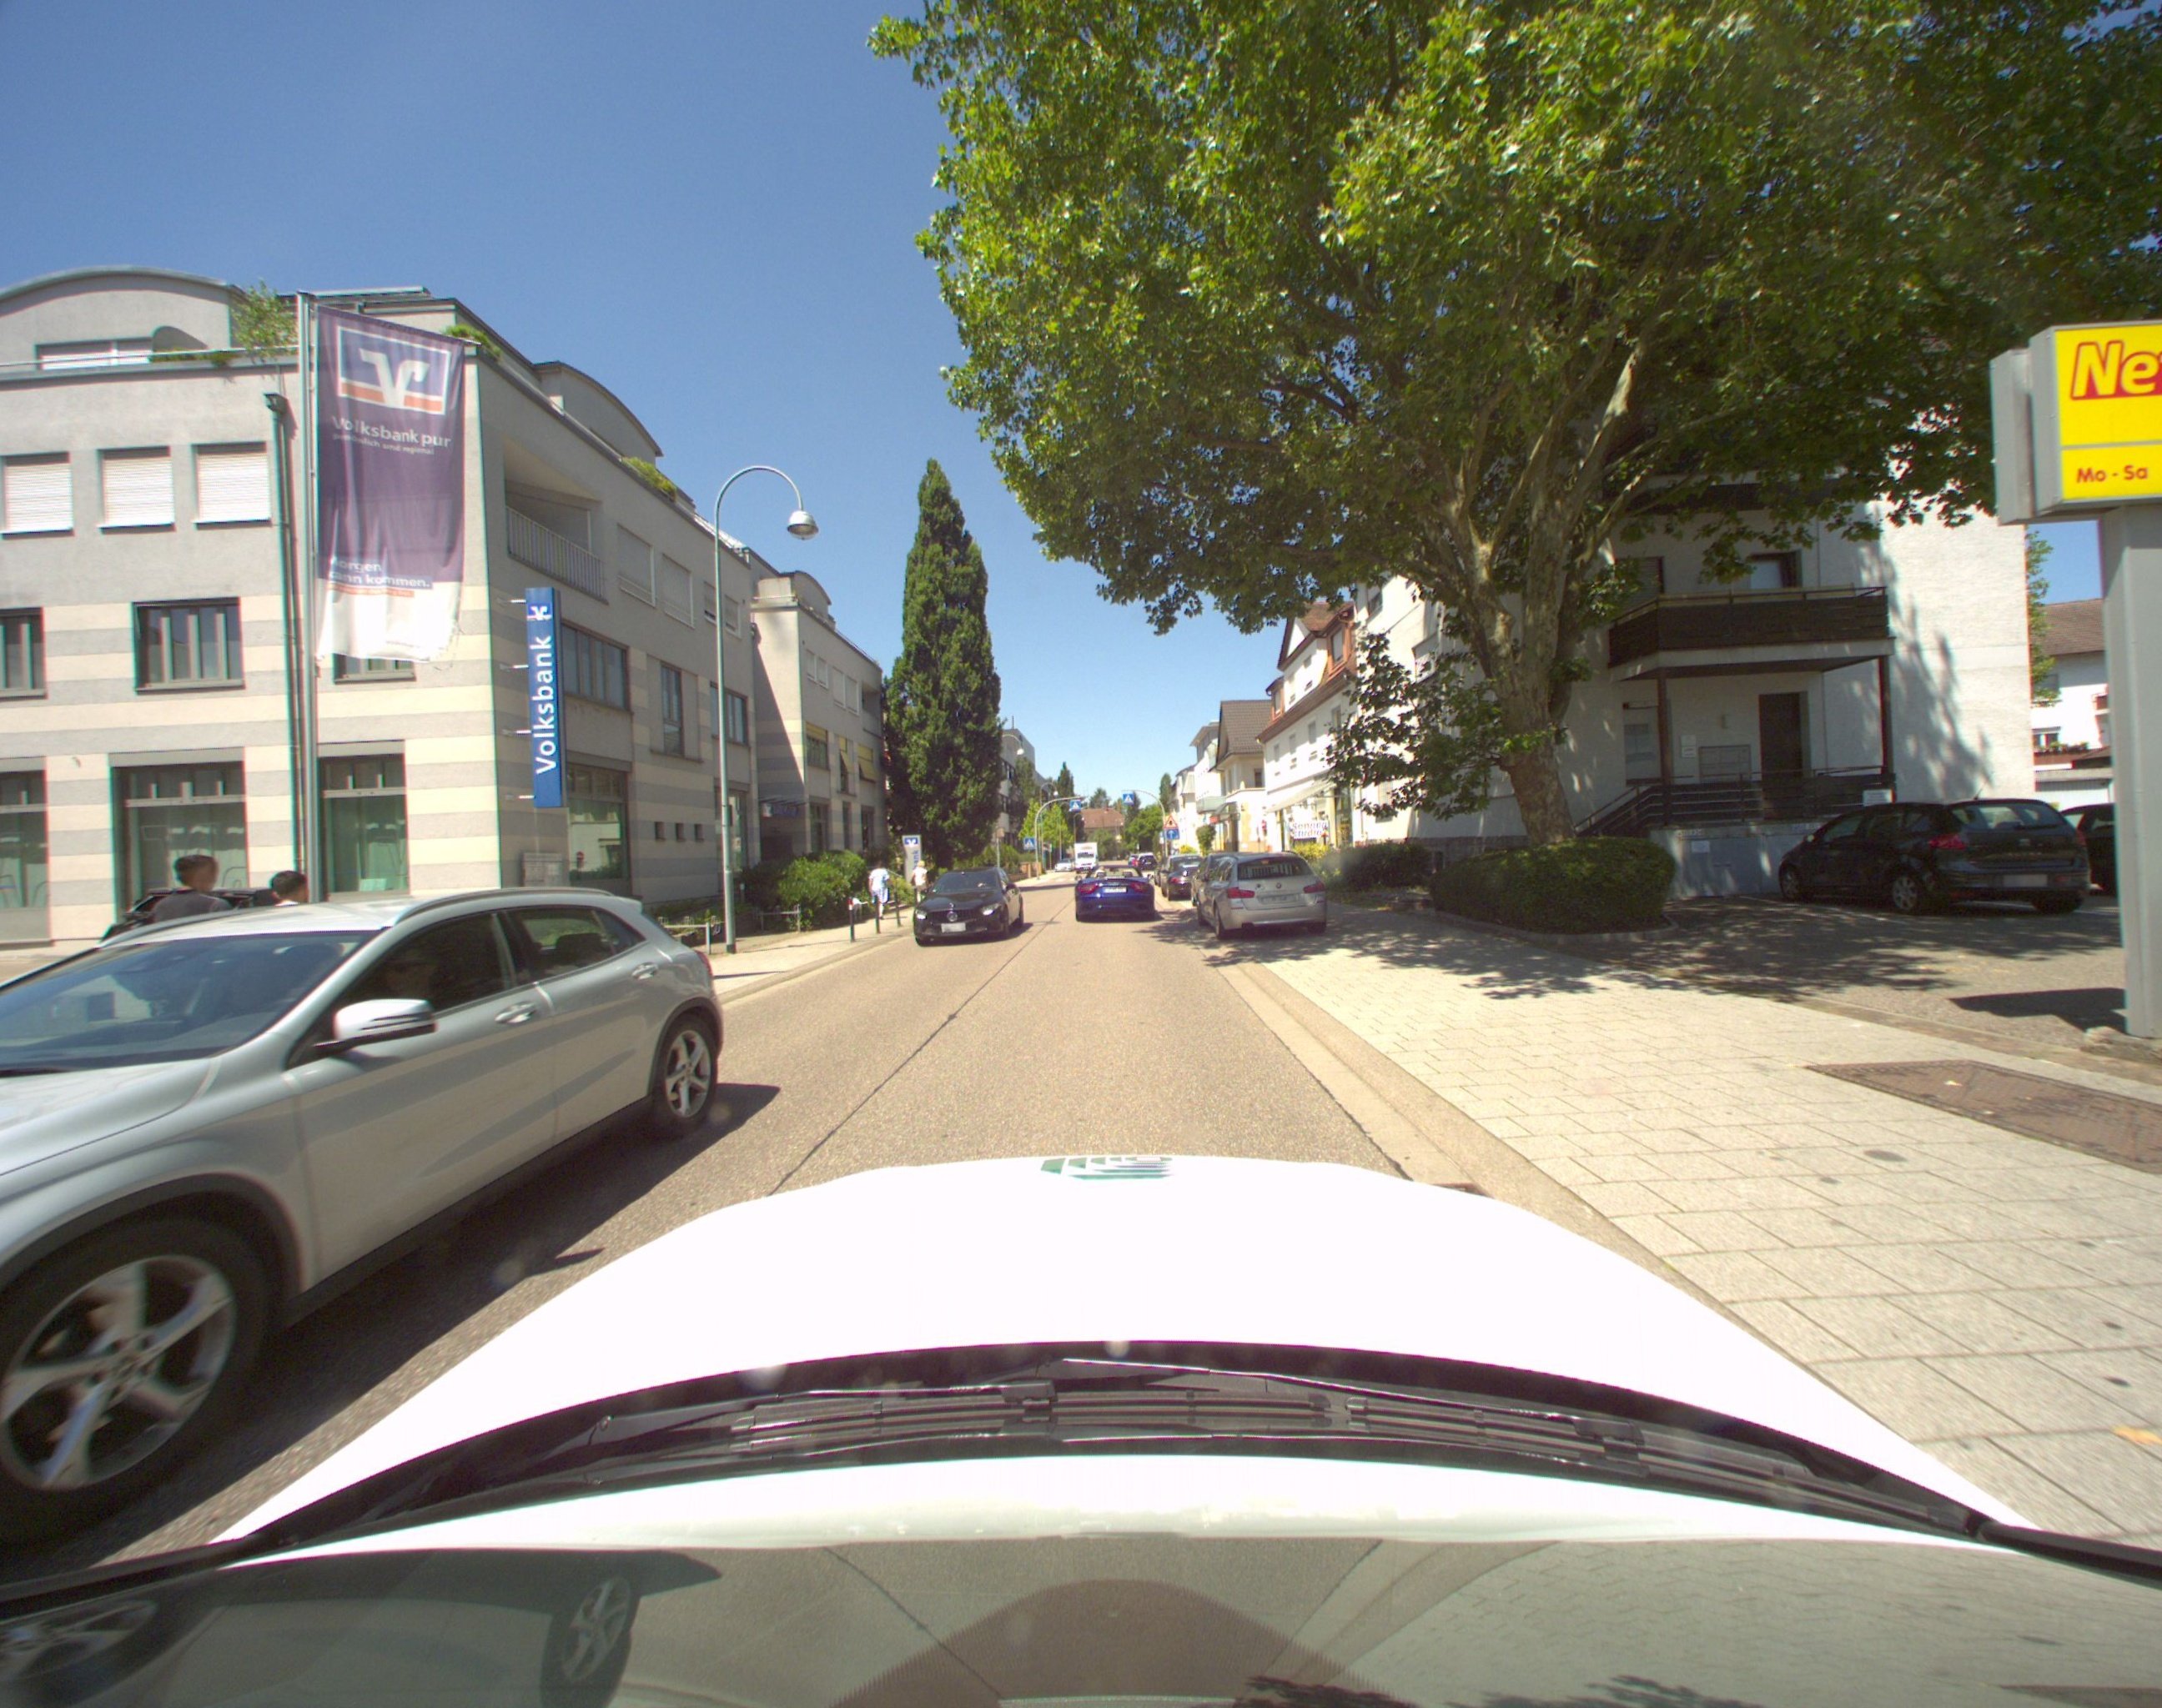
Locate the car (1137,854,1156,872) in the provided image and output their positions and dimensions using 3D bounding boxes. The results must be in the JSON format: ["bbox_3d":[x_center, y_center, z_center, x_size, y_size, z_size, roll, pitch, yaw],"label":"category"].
[{"bbox_3d":[6.297,0.844,78.544,1.698,1.666,4.583,-2,0,3],"label":"car"}]

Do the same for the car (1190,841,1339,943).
[{"bbox_3d":[3.258,0.615,15.419,1.822,1.511,4.762,-4,0,2],"label":"car"}]

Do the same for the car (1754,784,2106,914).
[{"bbox_3d":[12.258,-0.067,12.216,1.673,1.543,4.114,-3,0,14],"label":"car"}]

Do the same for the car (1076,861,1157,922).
[{"bbox_3d":[0.910,0.872,20.804,1.819,1.337,4.703,-1,0,2],"label":"car"}]

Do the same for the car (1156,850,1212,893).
[{"bbox_3d":[4.101,0.662,33.005,1.737,1.468,4.855,-5,0,2],"label":"car"}]

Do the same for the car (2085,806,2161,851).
[{"bbox_3d":[39.022,-0.963,30.411,3.741,1.508,1.621,-3,0,-35],"label":"car"}]

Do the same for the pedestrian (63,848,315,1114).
[{"bbox_3d":[-6.479,0.859,5.982,0.745,1.770,0.951,-2,0,1],"label":"pedestrian"}]

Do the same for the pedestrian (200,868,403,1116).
[{"bbox_3d":[-5.714,0.950,6.026,0.618,1.677,0.904,0,0,1],"label":"pedestrian"}]

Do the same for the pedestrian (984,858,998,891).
[{"bbox_3d":[-4.668,1.058,42.347,0.534,1.685,0.709,-2,-1,2],"label":"pedestrian"}]

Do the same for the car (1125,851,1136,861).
[{"bbox_3d":[8.033,0.348,131.724,1.625,1.446,4.400,-5,0,2],"label":"car"}]

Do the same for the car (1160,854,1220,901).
[{"bbox_3d":[3.597,0.736,27.445,1.552,1.340,4.175,-4,0,2],"label":"car"}]

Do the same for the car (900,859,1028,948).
[{"bbox_3d":[-2.310,0.925,17.226,1.822,1.511,4.264,-4,0,2],"label":"car"}]

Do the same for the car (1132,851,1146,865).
[{"bbox_3d":[7.146,0.475,100.568,1.596,1.440,3.857,-6,0,4],"label":"car"}]

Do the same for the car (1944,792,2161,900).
[{"bbox_3d":[16.614,-0.174,13.184,1.824,1.536,3.770,-3,0,13],"label":"car"}]

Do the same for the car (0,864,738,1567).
[{"bbox_3d":[-3.260,0.864,3.314,1.822,1.511,4.033,-3,0,2],"label":"car"}]

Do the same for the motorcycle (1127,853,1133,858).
[{"bbox_3d":[10.587,0.328,175.862,0.693,1.107,1.800,-4,0,21],"label":"motorcycle"}]

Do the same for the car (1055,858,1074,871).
[{"bbox_3d":[-1.869,1.198,93.133,1.815,1.411,4.580,-2,0,3],"label":"car"}]

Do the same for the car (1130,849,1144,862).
[{"bbox_3d":[7.984,0.230,117.252,1.836,1.619,4.431,-5,0,3],"label":"car"}]

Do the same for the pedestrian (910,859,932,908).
[{"bbox_3d":[-5.615,1.017,28.661,0.534,1.685,0.709,-2,-1,2],"label":"pedestrian"}]

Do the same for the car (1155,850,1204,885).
[{"bbox_3d":[4.568,0.619,38.355,1.819,1.426,4.703,-4,0,2],"label":"car"}]

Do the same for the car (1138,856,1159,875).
[{"bbox_3d":[5.978,1.017,72.439,1.698,1.556,4.751,-2,0,3],"label":"car"}]

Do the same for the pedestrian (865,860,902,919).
[{"bbox_3d":[-5.669,1.004,23.434,0.746,1.645,0.849,-3,0,1],"label":"pedestrian"}]

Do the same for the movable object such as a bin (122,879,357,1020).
[{"bbox_3d":[-9.770,1.061,9.546,1.381,1.488,1.295,0,0,2],"label":"movable object such as a bin"}]

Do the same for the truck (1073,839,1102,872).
[{"bbox_3d":[0.710,0.142,80.527,2.410,2.983,6.262,-3,0,3],"label":"truck"}]
